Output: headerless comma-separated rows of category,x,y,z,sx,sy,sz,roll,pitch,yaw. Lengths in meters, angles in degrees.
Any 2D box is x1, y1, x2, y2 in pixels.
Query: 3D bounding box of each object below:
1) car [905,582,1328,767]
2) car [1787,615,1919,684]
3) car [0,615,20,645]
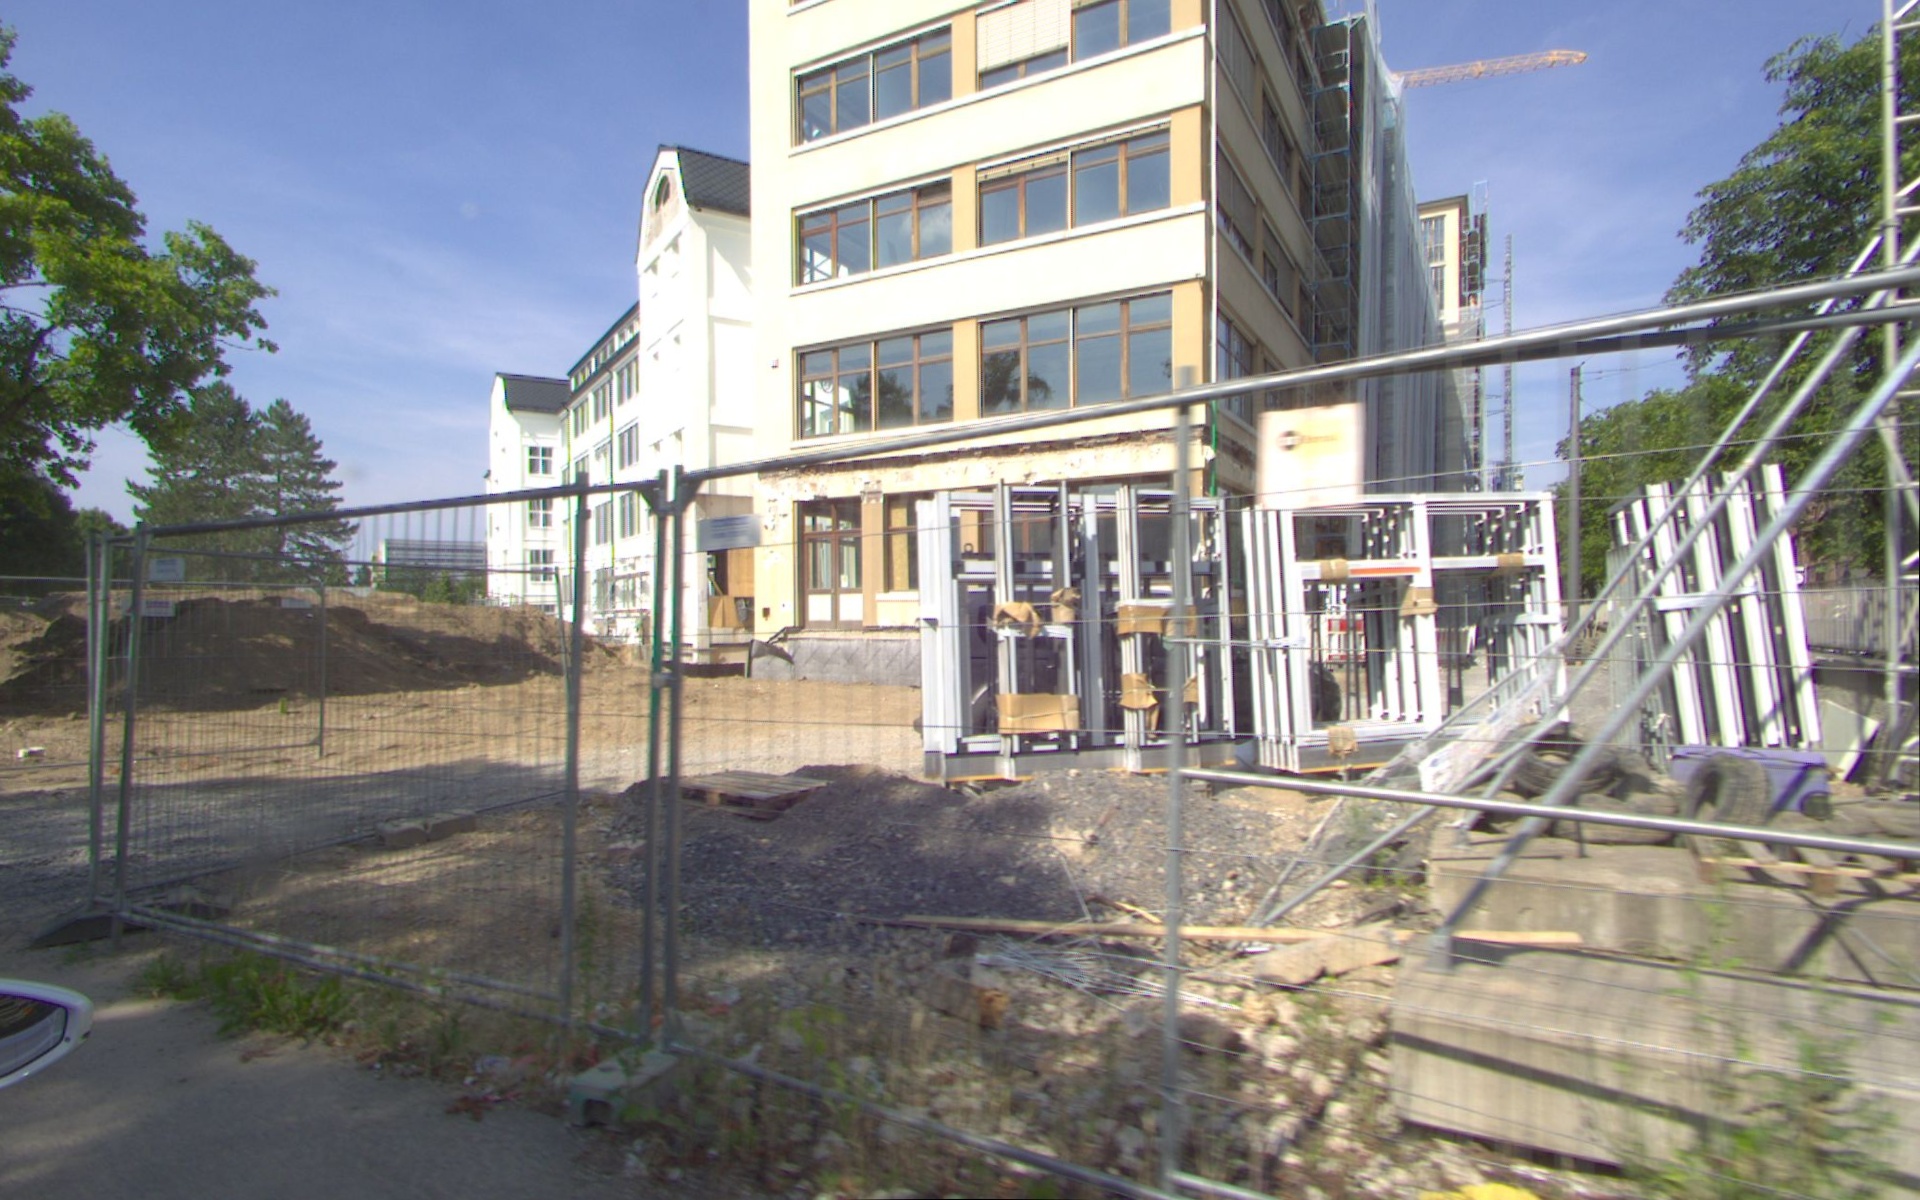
car,1.626,0.764,11.122,4.232,1.803,1.921,0,-2,-11
car,21.611,1.125,24.099,1.971,1.498,4.334,0,-1,31
car,-59.187,1.796,59.967,3.944,1.795,1.758,1,0,-31
